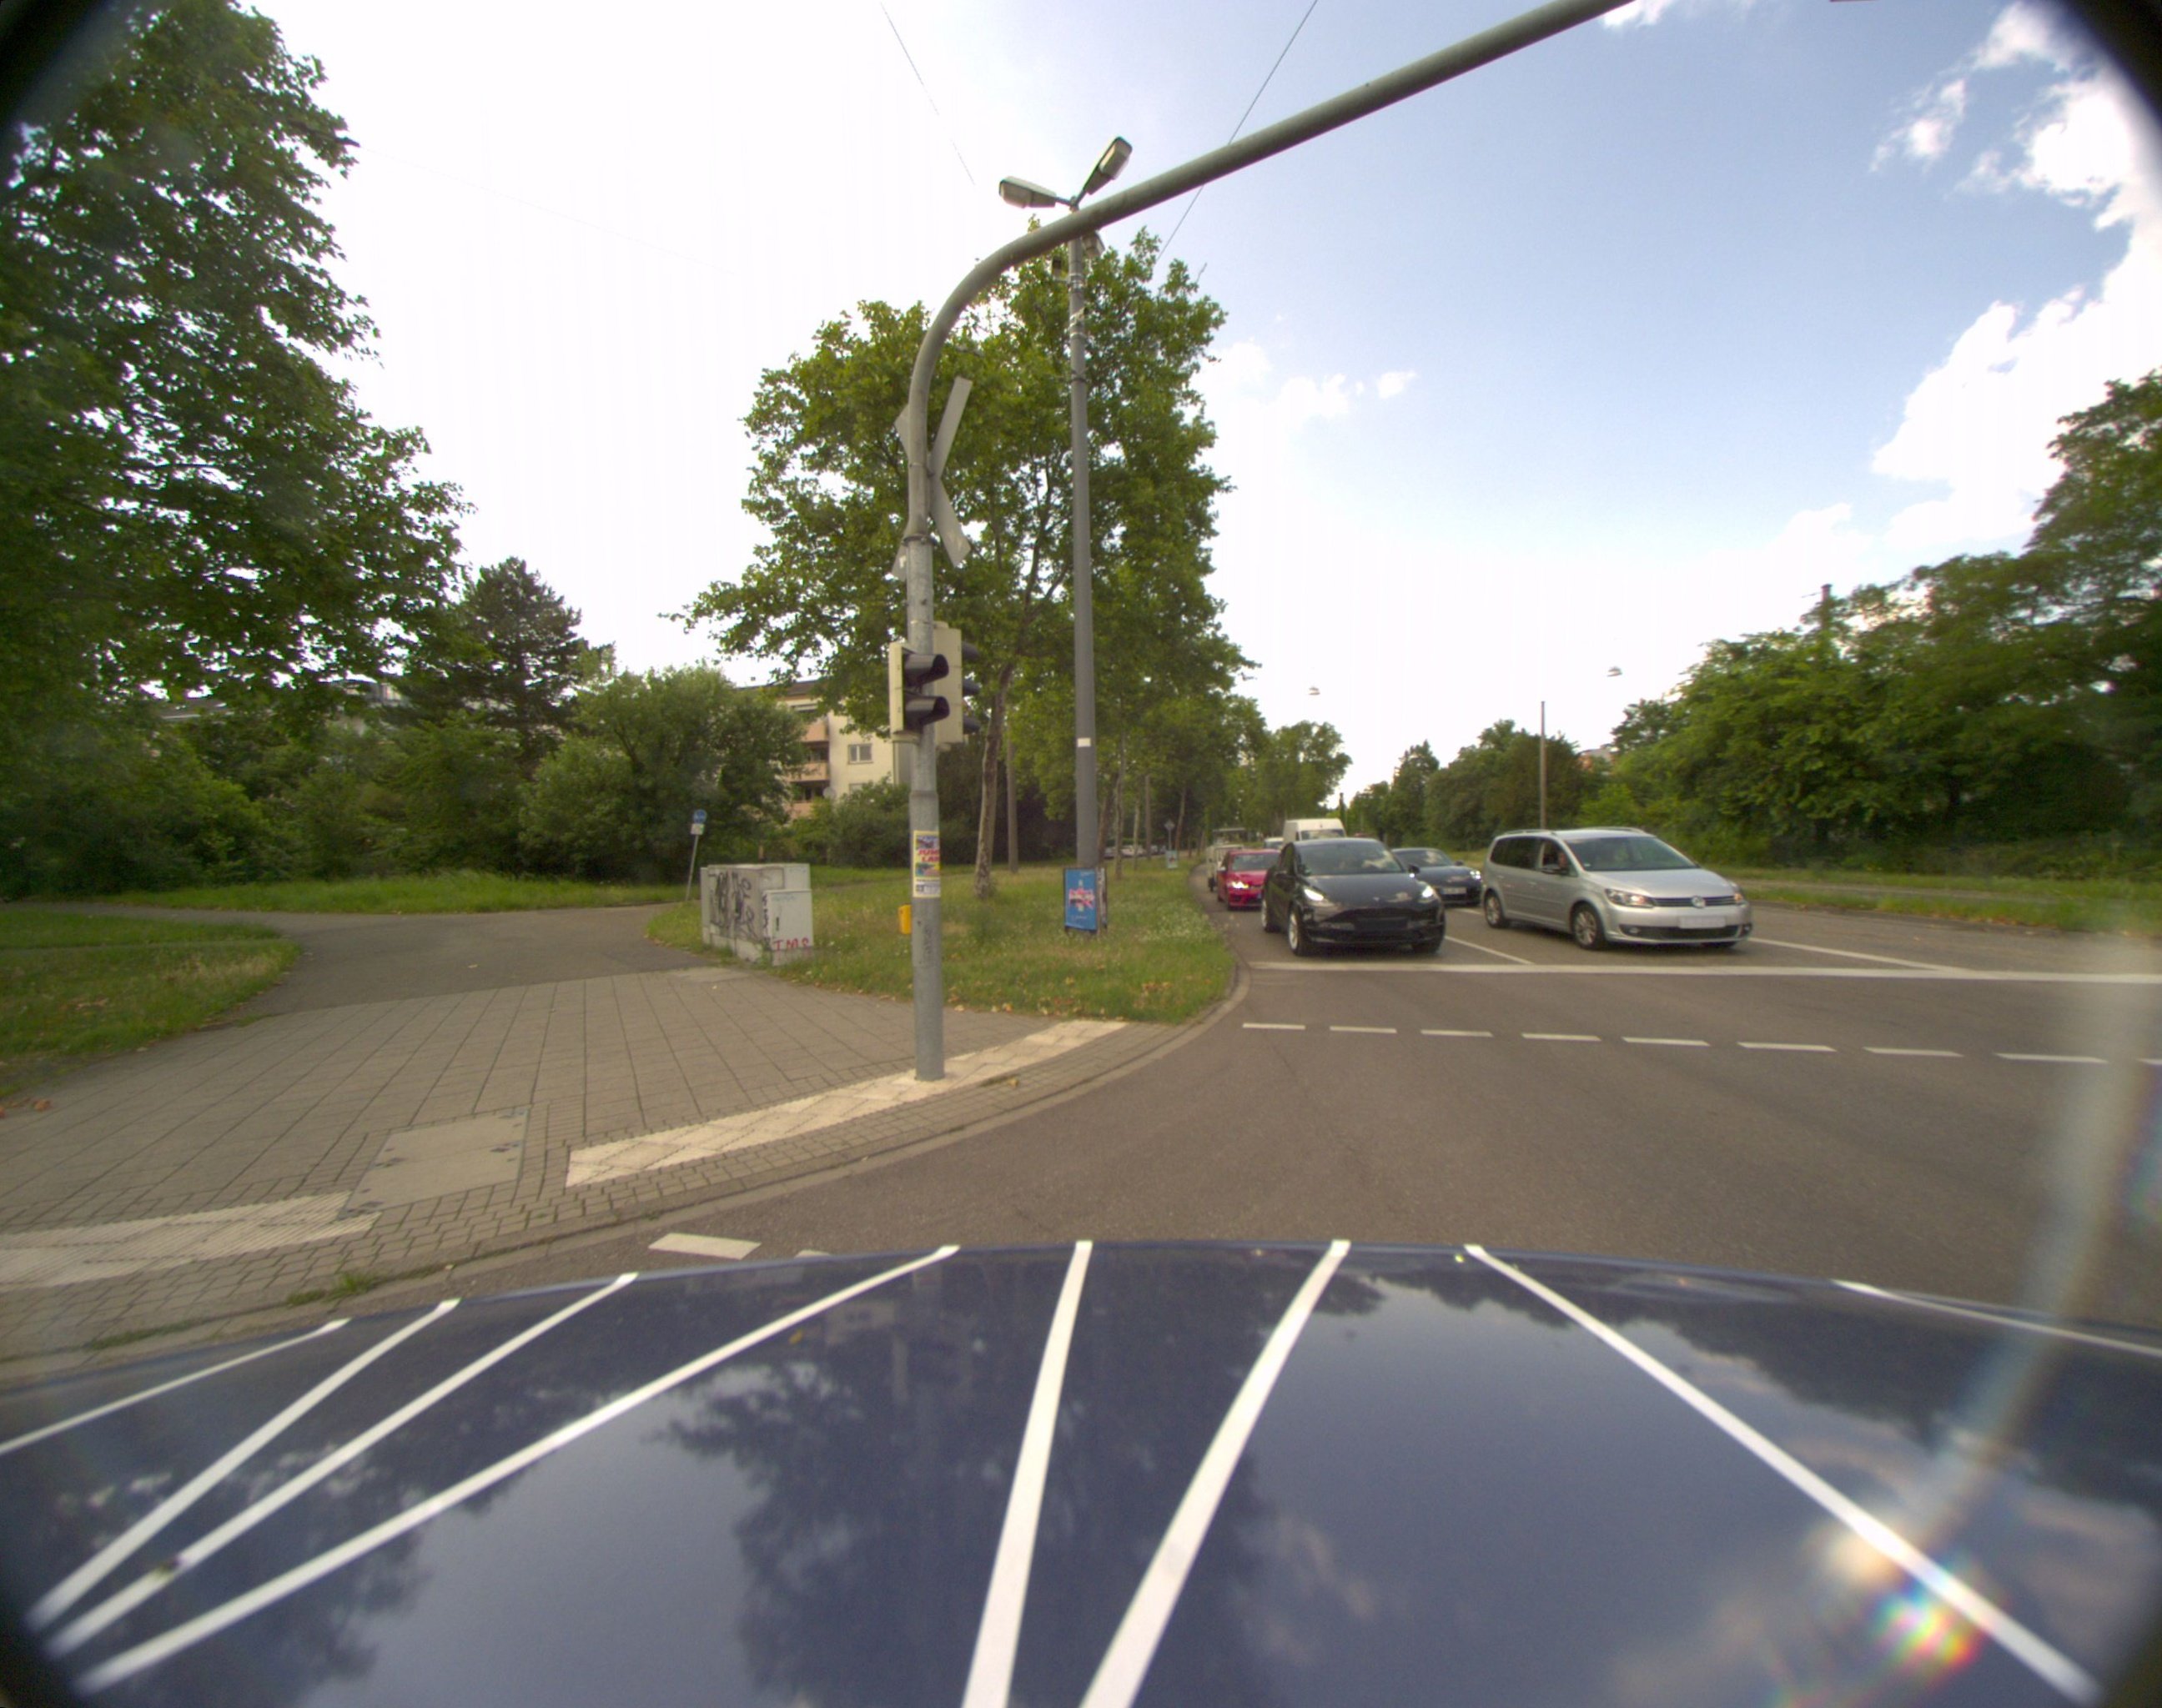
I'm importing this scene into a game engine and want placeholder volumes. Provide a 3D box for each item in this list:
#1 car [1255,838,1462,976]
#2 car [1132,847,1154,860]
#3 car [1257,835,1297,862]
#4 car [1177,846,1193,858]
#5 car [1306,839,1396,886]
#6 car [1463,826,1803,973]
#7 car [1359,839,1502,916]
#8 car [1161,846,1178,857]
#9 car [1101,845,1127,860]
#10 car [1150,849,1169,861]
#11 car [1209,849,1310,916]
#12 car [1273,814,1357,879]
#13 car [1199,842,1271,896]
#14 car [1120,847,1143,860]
[{"bbox_3d":[3.970,0.624,11.751,1.929,1.642,4.581,-3,1,6],"label":"car"},{"bbox_3d":[7.852,0.006,96.325,1.773,1.586,3.662,-1,-1,21],"label":"car"},{"bbox_3d":[12.615,-0.367,49.119,1.763,1.637,4.344,-1,1,5],"label":"car"},{"bbox_3d":[17.017,-0.359,124.553,1.773,1.925,3.662,-1,-1,21],"label":"car"},{"bbox_3d":[8.994,0.218,25.657,1.763,1.367,4.344,-3,1,5],"label":"car"},{"bbox_3d":[7.577,0.501,11.135,1.929,1.642,4.502,-3,1,5],"label":"car"},{"bbox_3d":[7.975,0.449,17.750,1.802,1.499,4.001,-3,1,6],"label":"car"},{"bbox_3d":[13.344,-0.328,114.461,1.773,1.586,3.662,-1,-1,21],"label":"car"},{"bbox_3d":[3.671,-0.135,83.527,1.773,1.586,3.662,-1,-1,21],"label":"car"},{"bbox_3d":[11.076,0.126,106.887,1.773,1.586,3.662,-1,-1,21],"label":"car"},{"bbox_3d":[4.429,0.643,19.470,1.800,1.383,4.502,-3,1,5],"label":"car"},{"bbox_3d":[10.223,-0.354,33.719,2.225,2.515,5.934,-3,1,5],"label":"car"},{"bbox_3d":[5.127,0.440,25.796,1.800,1.561,4.502,-3,1,5],"label":"car"},{"bbox_3d":[6.199,-0.033,92.276,1.773,1.586,3.662,-1,-1,21],"label":"car"}]
